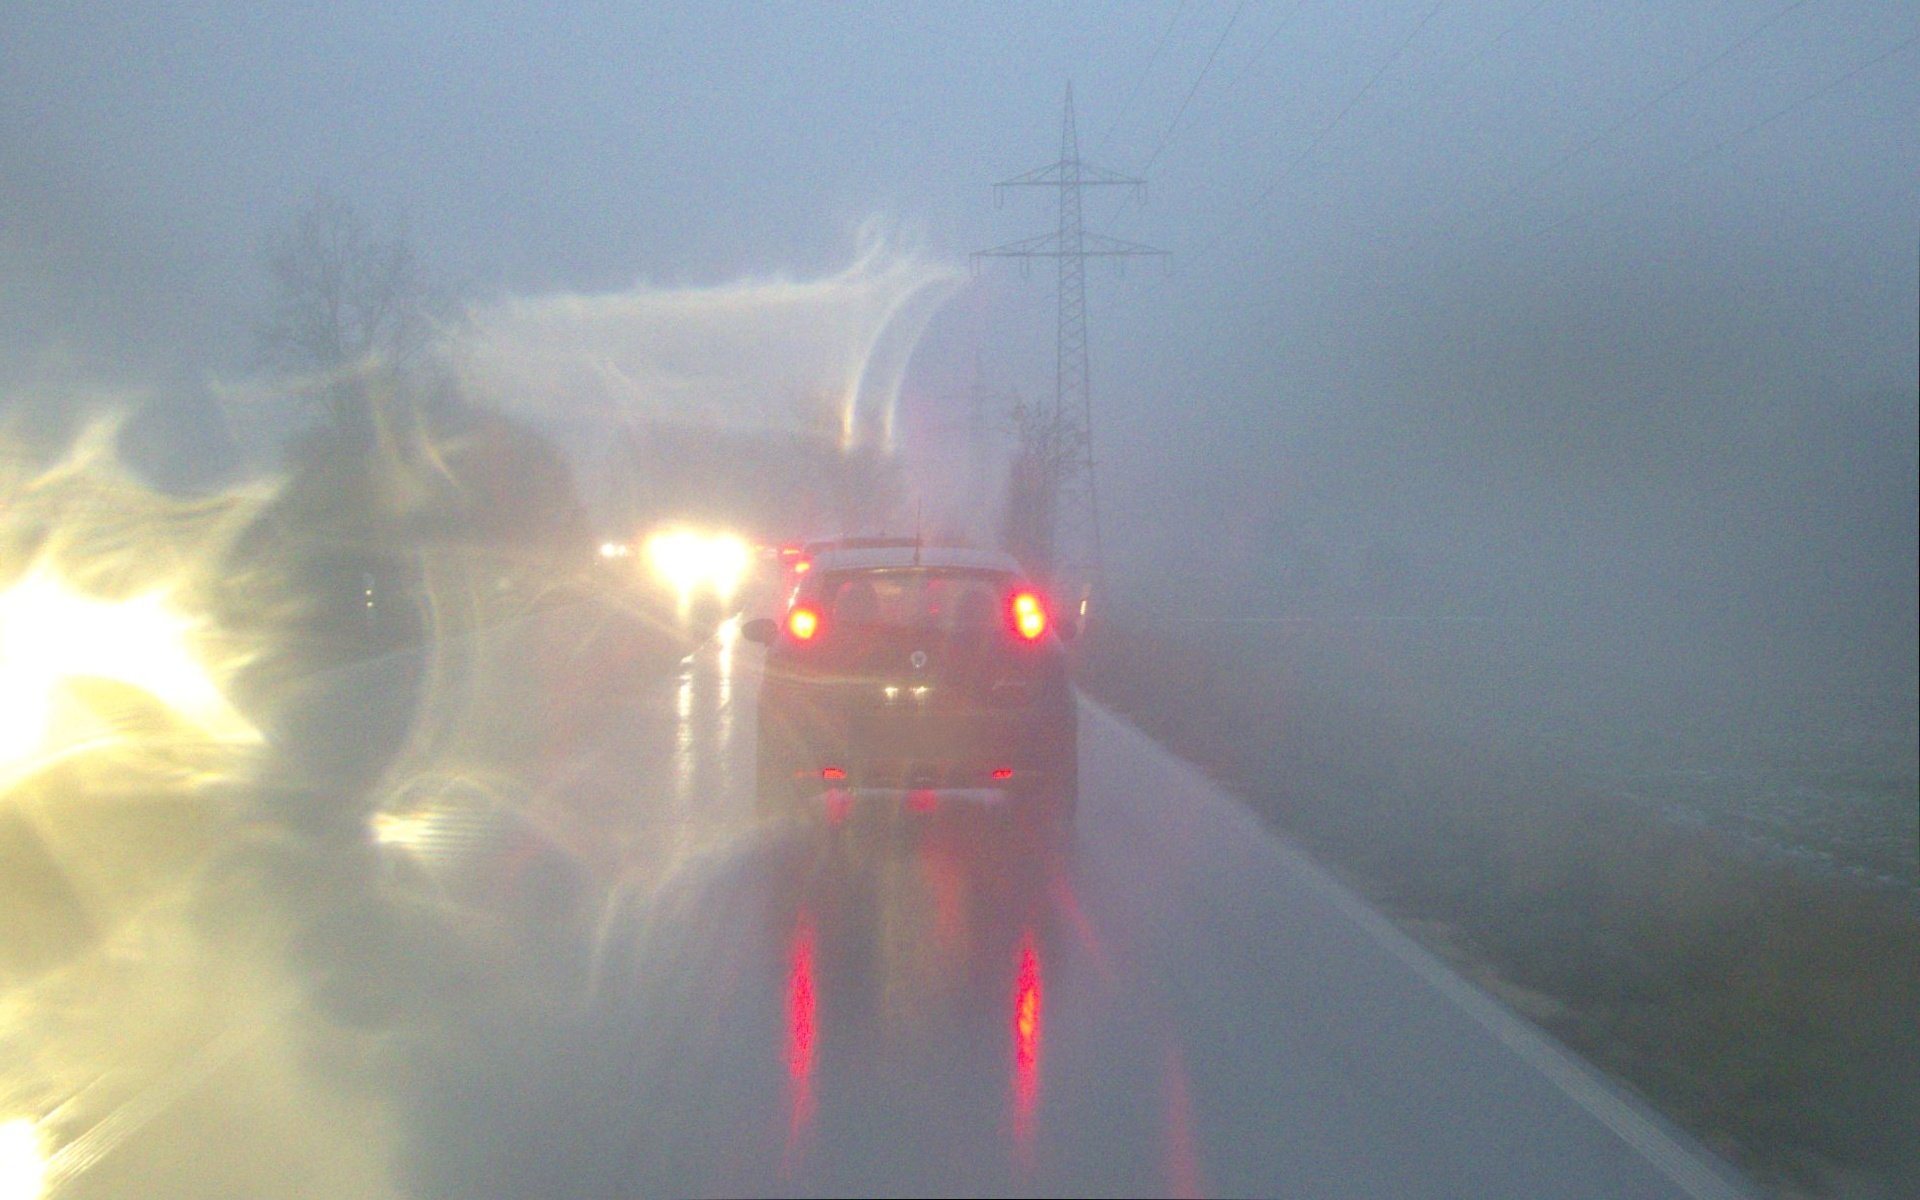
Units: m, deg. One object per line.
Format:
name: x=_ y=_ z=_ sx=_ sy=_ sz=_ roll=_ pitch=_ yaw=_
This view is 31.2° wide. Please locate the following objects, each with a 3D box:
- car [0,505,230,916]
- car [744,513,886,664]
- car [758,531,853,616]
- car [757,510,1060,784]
car: x=-4.558 y=0.374 z=15.333 sx=1.769 sy=1.585 sz=4.164 roll=0 pitch=1 yaw=-1
car: x=-2.070 y=-0.184 z=48.029 sx=1.852 sy=2.007 sz=4.001 roll=1 pitch=1 yaw=-4
car: x=-3.079 y=-0.547 z=67.824 sx=1.769 sy=1.585 sz=4.165 roll=0 pitch=1 yaw=-4
car: x=-0.357 y=0.221 z=19.222 sx=1.500 sy=1.393 sz=3.200 roll=1 pitch=1 yaw=-4
